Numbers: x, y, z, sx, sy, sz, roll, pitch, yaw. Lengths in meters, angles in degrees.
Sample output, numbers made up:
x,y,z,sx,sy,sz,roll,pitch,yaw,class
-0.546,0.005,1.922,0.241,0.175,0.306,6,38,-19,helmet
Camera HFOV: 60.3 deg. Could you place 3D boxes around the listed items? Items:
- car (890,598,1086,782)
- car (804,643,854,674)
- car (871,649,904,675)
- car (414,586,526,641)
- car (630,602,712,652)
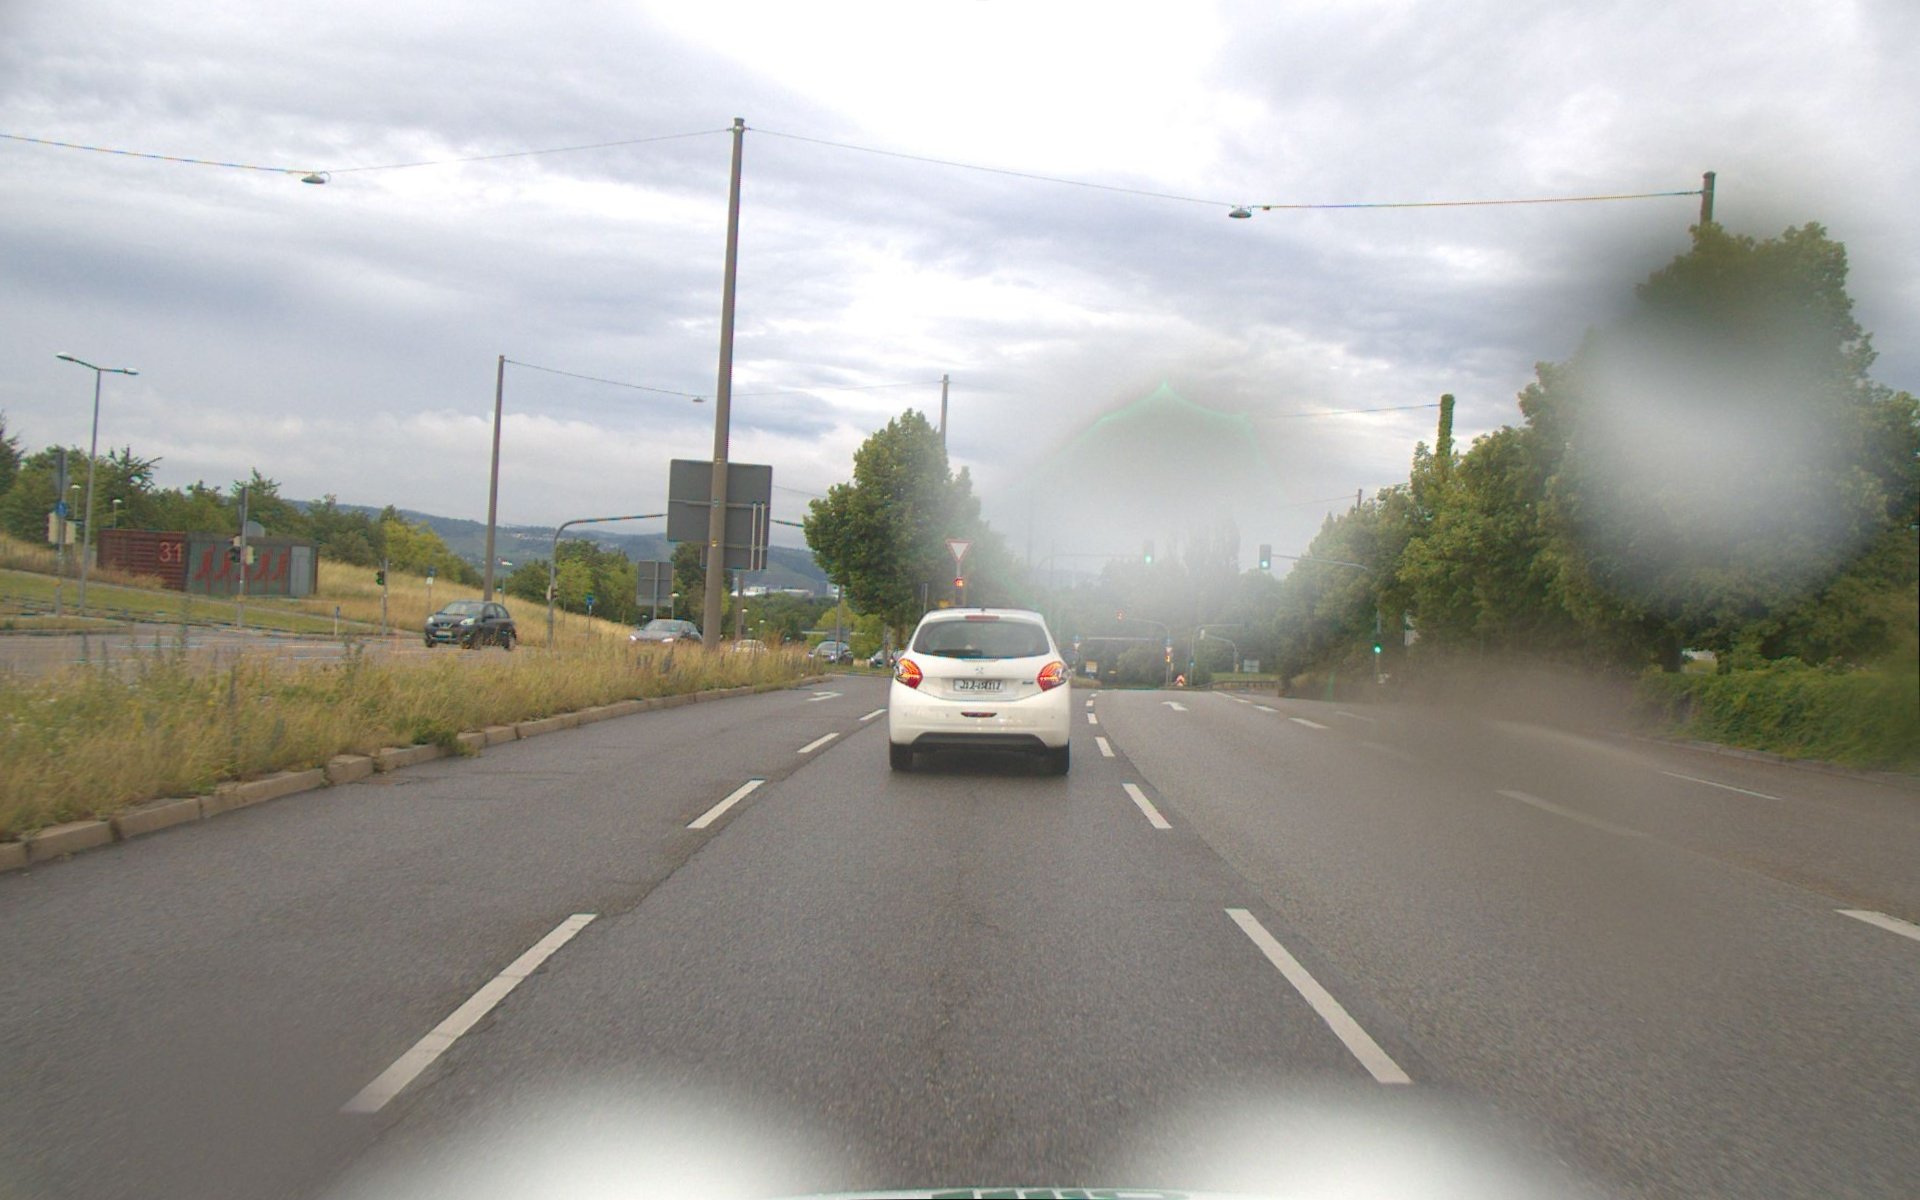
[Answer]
x,y,z,sx,sy,sz,roll,pitch,yaw,class
0.241,0.782,16.193,1.673,1.465,3.691,1,2,0,car
-6.925,3.114,87.678,1.714,1.530,4.466,3,-2,7,car
-4.668,4.008,106.765,1.505,1.530,3.664,3,-3,7,car
-14.888,0.442,50.510,1.730,1.408,4.002,3,-3,7,car
-10.396,0.993,59.751,1.730,1.545,4.002,3,-3,7,car
